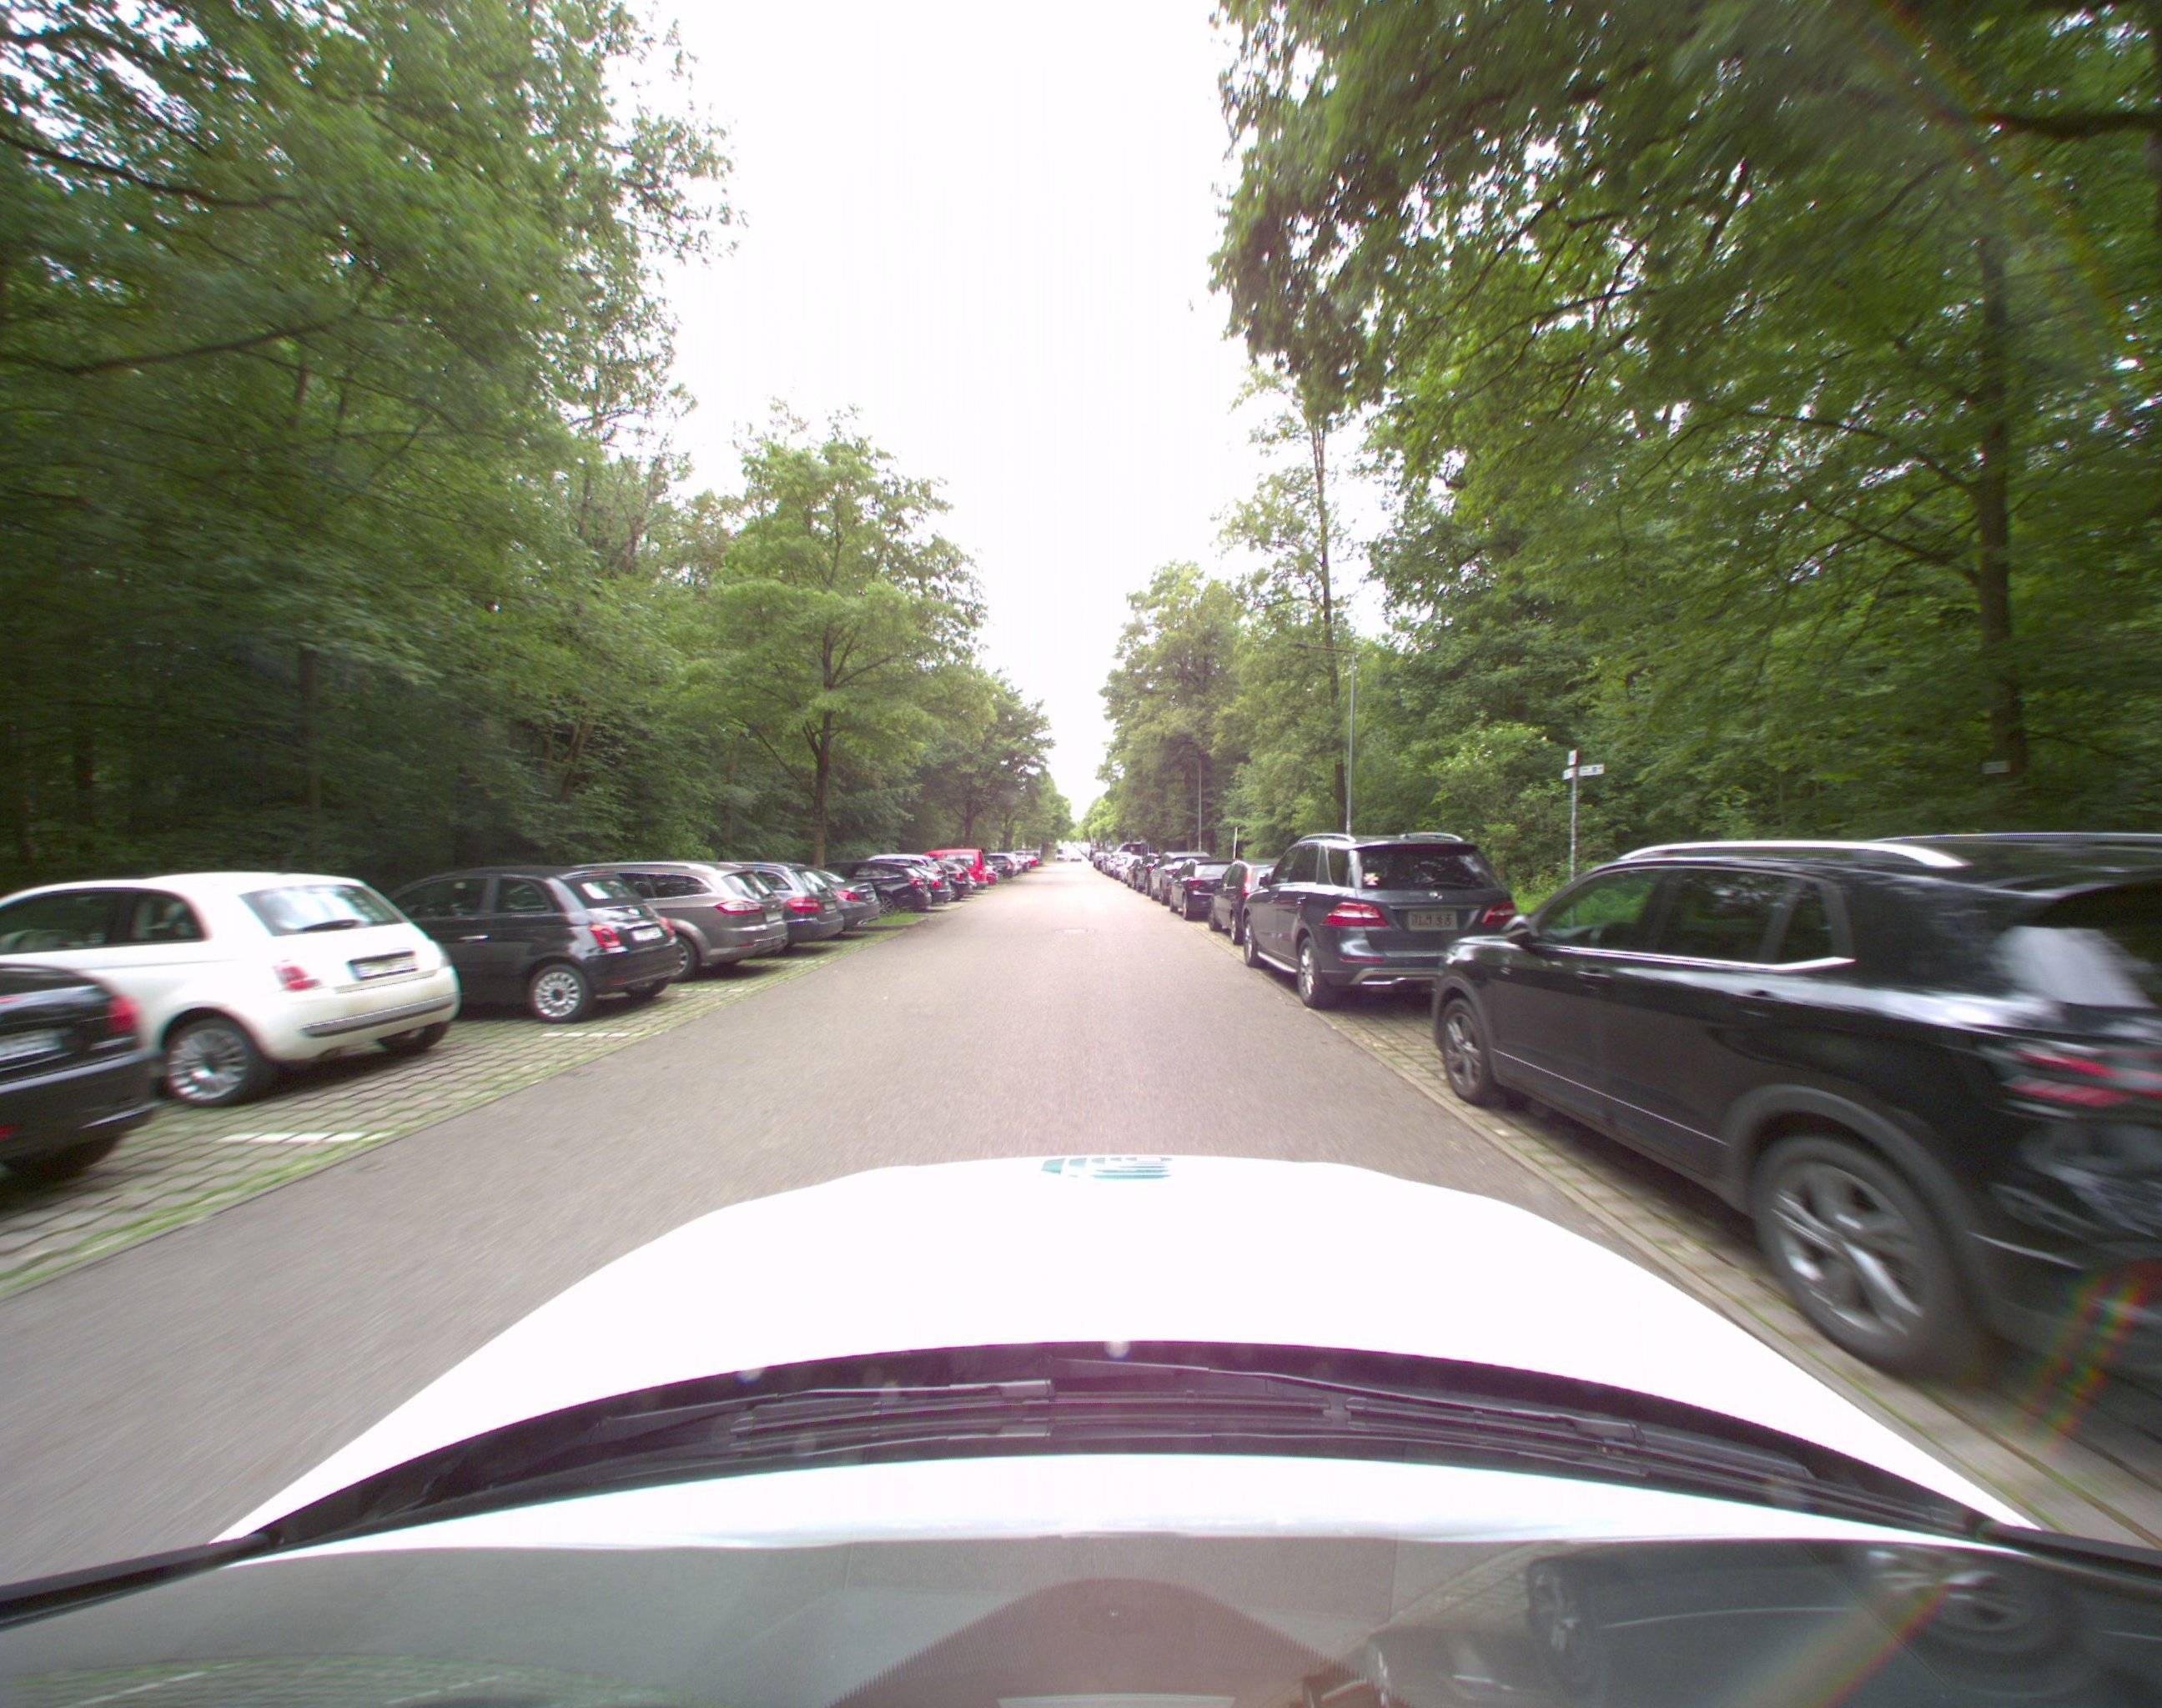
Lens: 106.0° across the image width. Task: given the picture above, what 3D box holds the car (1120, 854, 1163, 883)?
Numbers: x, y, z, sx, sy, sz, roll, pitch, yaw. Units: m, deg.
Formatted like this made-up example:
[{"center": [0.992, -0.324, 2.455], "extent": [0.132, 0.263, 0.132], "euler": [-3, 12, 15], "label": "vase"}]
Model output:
[{"center": [3.199, 0.746, 43.897], "extent": [1.932, 1.475, 3.989], "euler": [0, 0, -2], "label": "car"}]

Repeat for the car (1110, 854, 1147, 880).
[{"center": [2.869, 0.761, 49.889], "extent": [1.719, 1.494, 3.767], "euler": [0, 0, -5], "label": "car"}]

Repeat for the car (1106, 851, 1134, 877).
[{"center": [2.633, 0.640, 55.412], "extent": [1.705, 1.728, 4.000], "euler": [0, 0, 0], "label": "car"}]

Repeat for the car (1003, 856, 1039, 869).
[{"center": [-6.288, 0.880, 85.773], "extent": [3.580, 1.361, 1.820], "euler": [-1, 0, -13], "label": "car"}]

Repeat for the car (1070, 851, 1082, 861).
[{"center": [-0.757, 0.277, 123.932], "extent": [1.686, 1.415, 3.153], "euler": [1, 3, -1], "label": "car"}]

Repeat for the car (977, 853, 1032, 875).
[{"center": [-5.891, 0.790, 63.038], "extent": [3.973, 1.640, 2.009], "euler": [-1, 0, 0], "label": "car"}]

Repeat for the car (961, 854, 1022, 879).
[{"center": [-6.079, 0.843, 55.616], "extent": [3.973, 1.640, 1.734], "euler": [-1, 0, 0], "label": "car"}]

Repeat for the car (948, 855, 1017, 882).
[{"center": [-5.830, 0.838, 48.287], "extent": [3.820, 1.536, 1.871], "euler": [-1, 0, 0], "label": "car"}]

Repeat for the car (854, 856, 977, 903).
[{"center": [-5.698, 0.853, 28.514], "extent": [3.980, 1.530, 1.997], "euler": [-1, 0, -5], "label": "car"}]

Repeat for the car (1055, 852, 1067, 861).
[{"center": [-3.060, 0.392, 127.430], "extent": [1.733, 1.161, 3.413], "euler": [1, 3, 1], "label": "car"}]

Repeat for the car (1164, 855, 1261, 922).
[{"center": [3.162, 0.778, 20.382], "extent": [1.632, 1.477, 4.148], "euler": [0, 0, -2], "label": "car"}]

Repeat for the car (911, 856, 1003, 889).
[{"center": [-5.757, 0.848, 38.353], "extent": [3.974, 1.474, 2.115], "euler": [-1, 0, 0], "label": "car"}]

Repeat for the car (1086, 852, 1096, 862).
[{"center": [1.584, 0.409, 129.959], "extent": [1.623, 1.415, 3.410], "euler": [1, 3, -1], "label": "car"}]

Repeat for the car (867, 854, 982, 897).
[{"center": [-5.867, 0.797, 30.957], "extent": [3.975, 1.530, 1.999], "euler": [-1, 0, -1], "label": "car"}]

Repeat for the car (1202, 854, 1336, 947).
[{"center": [3.381, 0.763, 15.342], "extent": [1.593, 1.504, 4.089], "euler": [0, 0, 0], "label": "car"}]

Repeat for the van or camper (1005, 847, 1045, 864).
[{"center": [-6.695, 0.163, 97.018], "extent": [4.482, 1.868, 1.910], "euler": [0, 3, -15], "label": "van or camper"}]

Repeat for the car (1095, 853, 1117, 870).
[{"center": [2.293, 0.661, 75.026], "extent": [1.914, 1.520, 3.887], "euler": [0, 0, 1], "label": "car"}]

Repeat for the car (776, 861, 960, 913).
[{"center": [-5.987, 0.916, 23.348], "extent": [4.718, 1.343, 1.986], "euler": [-1, 0, -2], "label": "car"}]

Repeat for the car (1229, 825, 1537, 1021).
[{"center": [3.157, 0.610, 9.762], "extent": [1.883, 1.747, 4.948], "euler": [0, 0, 0], "label": "car"}]

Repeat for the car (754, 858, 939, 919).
[{"center": [-5.920, 0.855, 20.999], "extent": [4.289, 1.449, 1.754], "euler": [-1, 0, -6], "label": "car"}]

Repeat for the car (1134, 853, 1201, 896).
[{"center": [3.288, 0.753, 31.872], "extent": [1.974, 1.537, 4.161], "euler": [0, 0, -3], "label": "car"}]

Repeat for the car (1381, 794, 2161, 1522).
[{"center": [3.169, 0.661, 4.034], "extent": [1.745, 1.607, 4.446], "euler": [0, 0, 0], "label": "car"}]

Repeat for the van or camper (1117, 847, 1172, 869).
[{"center": [9.013, 0.530, 115.251], "extent": [7.336, 2.888, 2.637], "euler": [0, 3, -15], "label": "van or camper"}]

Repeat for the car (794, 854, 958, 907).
[{"center": [-6.459, 0.807, 26.048], "extent": [4.718, 1.595, 1.958], "euler": [-1, 0, -2], "label": "car"}]

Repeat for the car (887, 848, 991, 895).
[{"center": [-5.764, 0.703, 33.505], "extent": [3.978, 1.816, 2.113], "euler": [-1, 0, -3], "label": "car"}]

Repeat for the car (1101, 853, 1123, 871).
[{"center": [2.583, 0.649, 67.811], "extent": [1.705, 1.509, 4.000], "euler": [0, 0, 0], "label": "car"}]

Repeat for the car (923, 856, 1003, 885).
[{"center": [-6.235, 0.884, 43.443], "extent": [3.973, 1.474, 1.847], "euler": [-1, 0, 0], "label": "car"}]

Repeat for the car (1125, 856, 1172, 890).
[{"center": [3.010, 0.807, 36.934], "extent": [1.662, 1.444, 3.809], "euler": [0, 0, -3], "label": "car"}]

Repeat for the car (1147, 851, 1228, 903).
[{"center": [3.319, 0.670, 26.236], "extent": [1.972, 1.537, 4.620], "euler": [0, 0, -1], "label": "car"}]
